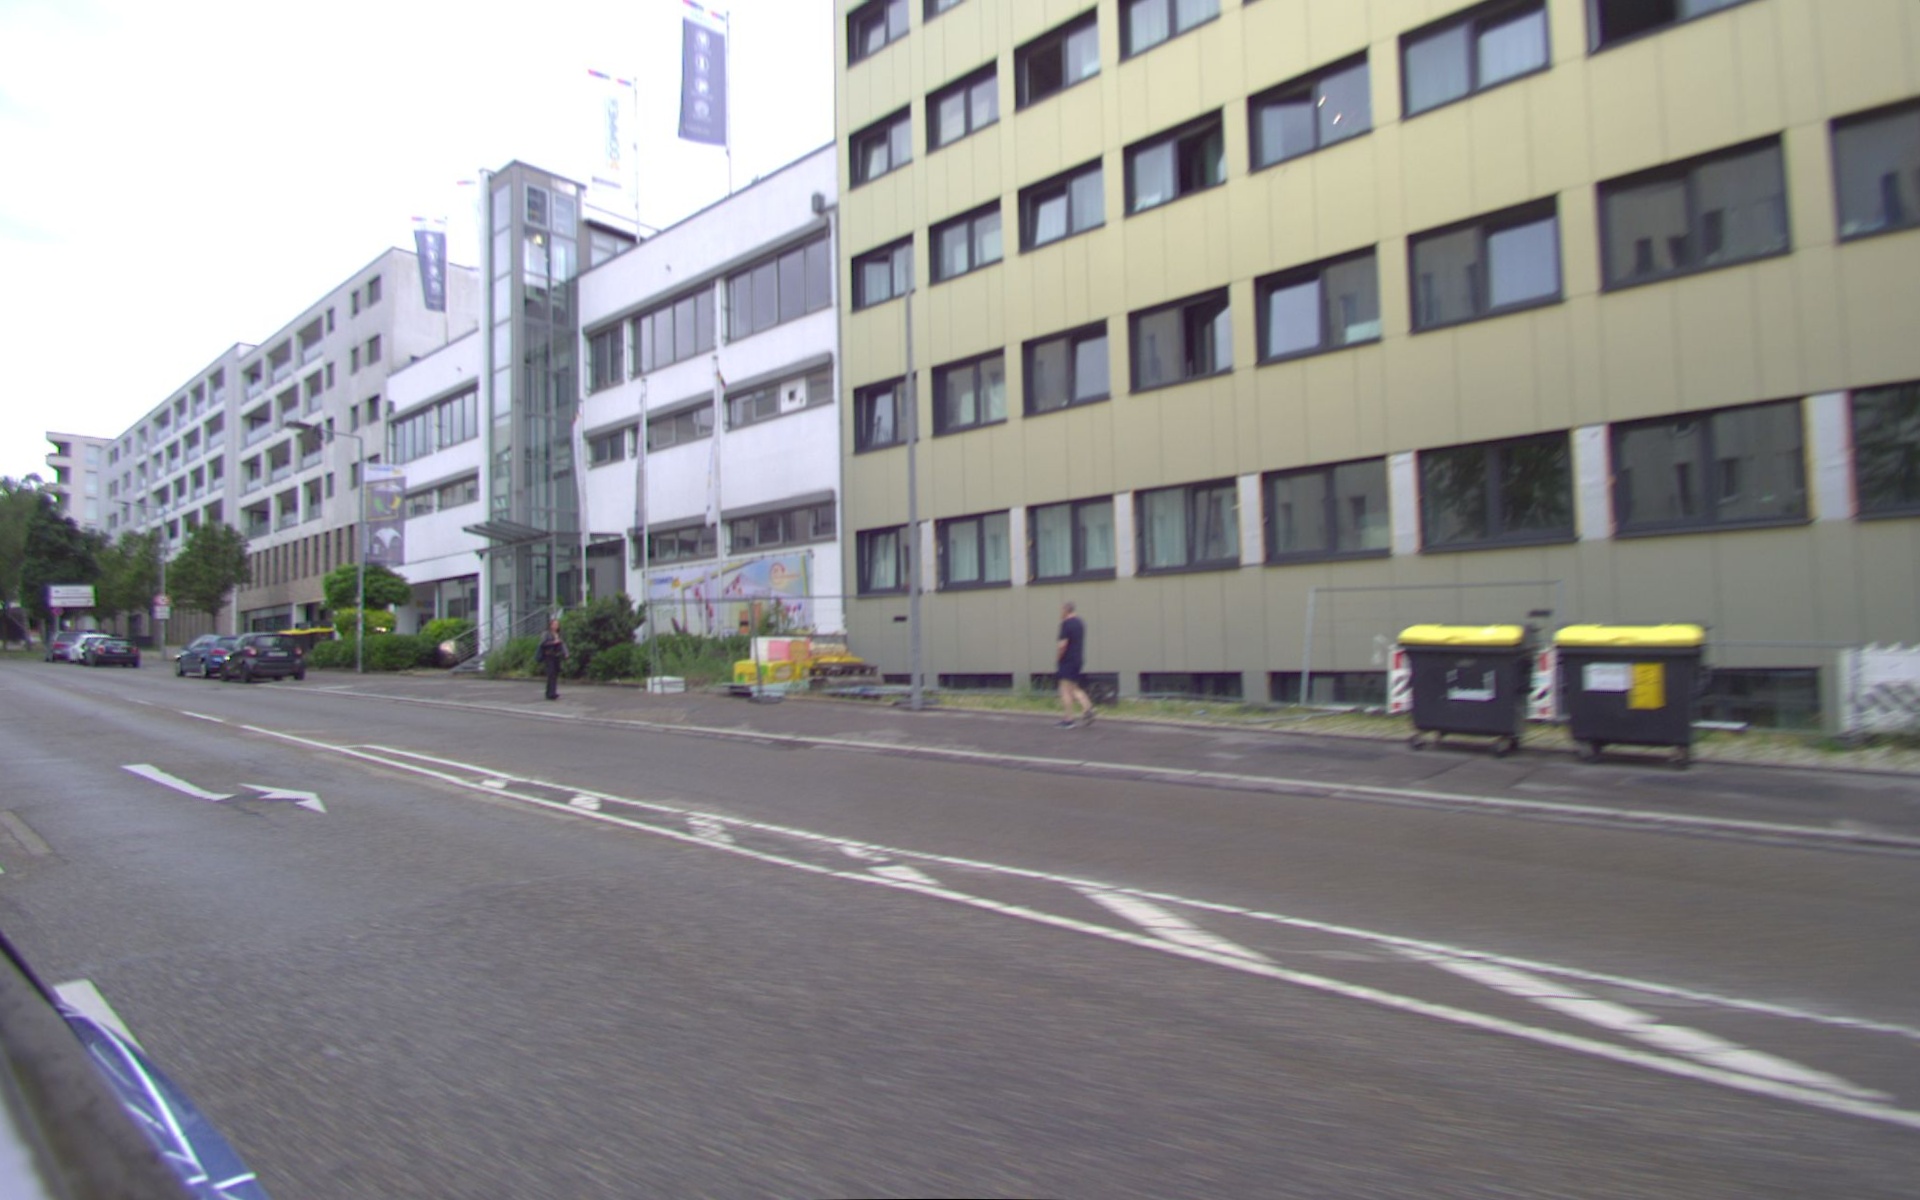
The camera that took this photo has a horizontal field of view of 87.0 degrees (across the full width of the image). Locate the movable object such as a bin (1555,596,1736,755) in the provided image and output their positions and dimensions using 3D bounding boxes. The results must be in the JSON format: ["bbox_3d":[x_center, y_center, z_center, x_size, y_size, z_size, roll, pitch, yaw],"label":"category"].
[{"bbox_3d":[6.984,0.715,10.315,1.358,1.456,1.042,-1,1,43],"label":"movable object such as a bin"}]

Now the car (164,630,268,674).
[{"bbox_3d":[-25.437,1.778,34.553,4.262,1.414,1.641,-2,-4,37],"label":"car"}]

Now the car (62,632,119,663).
[{"bbox_3d":[-43.568,2.375,50.697,3.420,1.479,1.577,-1,-5,40],"label":"car"}]

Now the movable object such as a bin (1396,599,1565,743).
[{"bbox_3d":[5.826,0.747,11.346,1.430,1.456,1.042,-1,1,43],"label":"movable object such as a bin"}]

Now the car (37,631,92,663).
[{"bbox_3d":[-47.626,2.490,53.801,3.970,1.630,1.609,-2,-5,41],"label":"car"}]

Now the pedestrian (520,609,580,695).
[{"bbox_3d":[-8.363,1.040,20.649,0.968,1.689,0.759,-1,0,42],"label":"pedestrian"}]

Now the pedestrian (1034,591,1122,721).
[{"bbox_3d":[1.656,0.755,14.215,0.942,1.745,0.746,-1,0,44],"label":"pedestrian"}]

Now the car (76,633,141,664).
[{"bbox_3d":[-40.077,2.288,47.605,3.736,1.402,1.641,-1,-4,39],"label":"car"}]

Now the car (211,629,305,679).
[{"bbox_3d":[-22.267,1.693,32.086,2.976,1.521,1.500,-1,-4,37],"label":"car"}]
